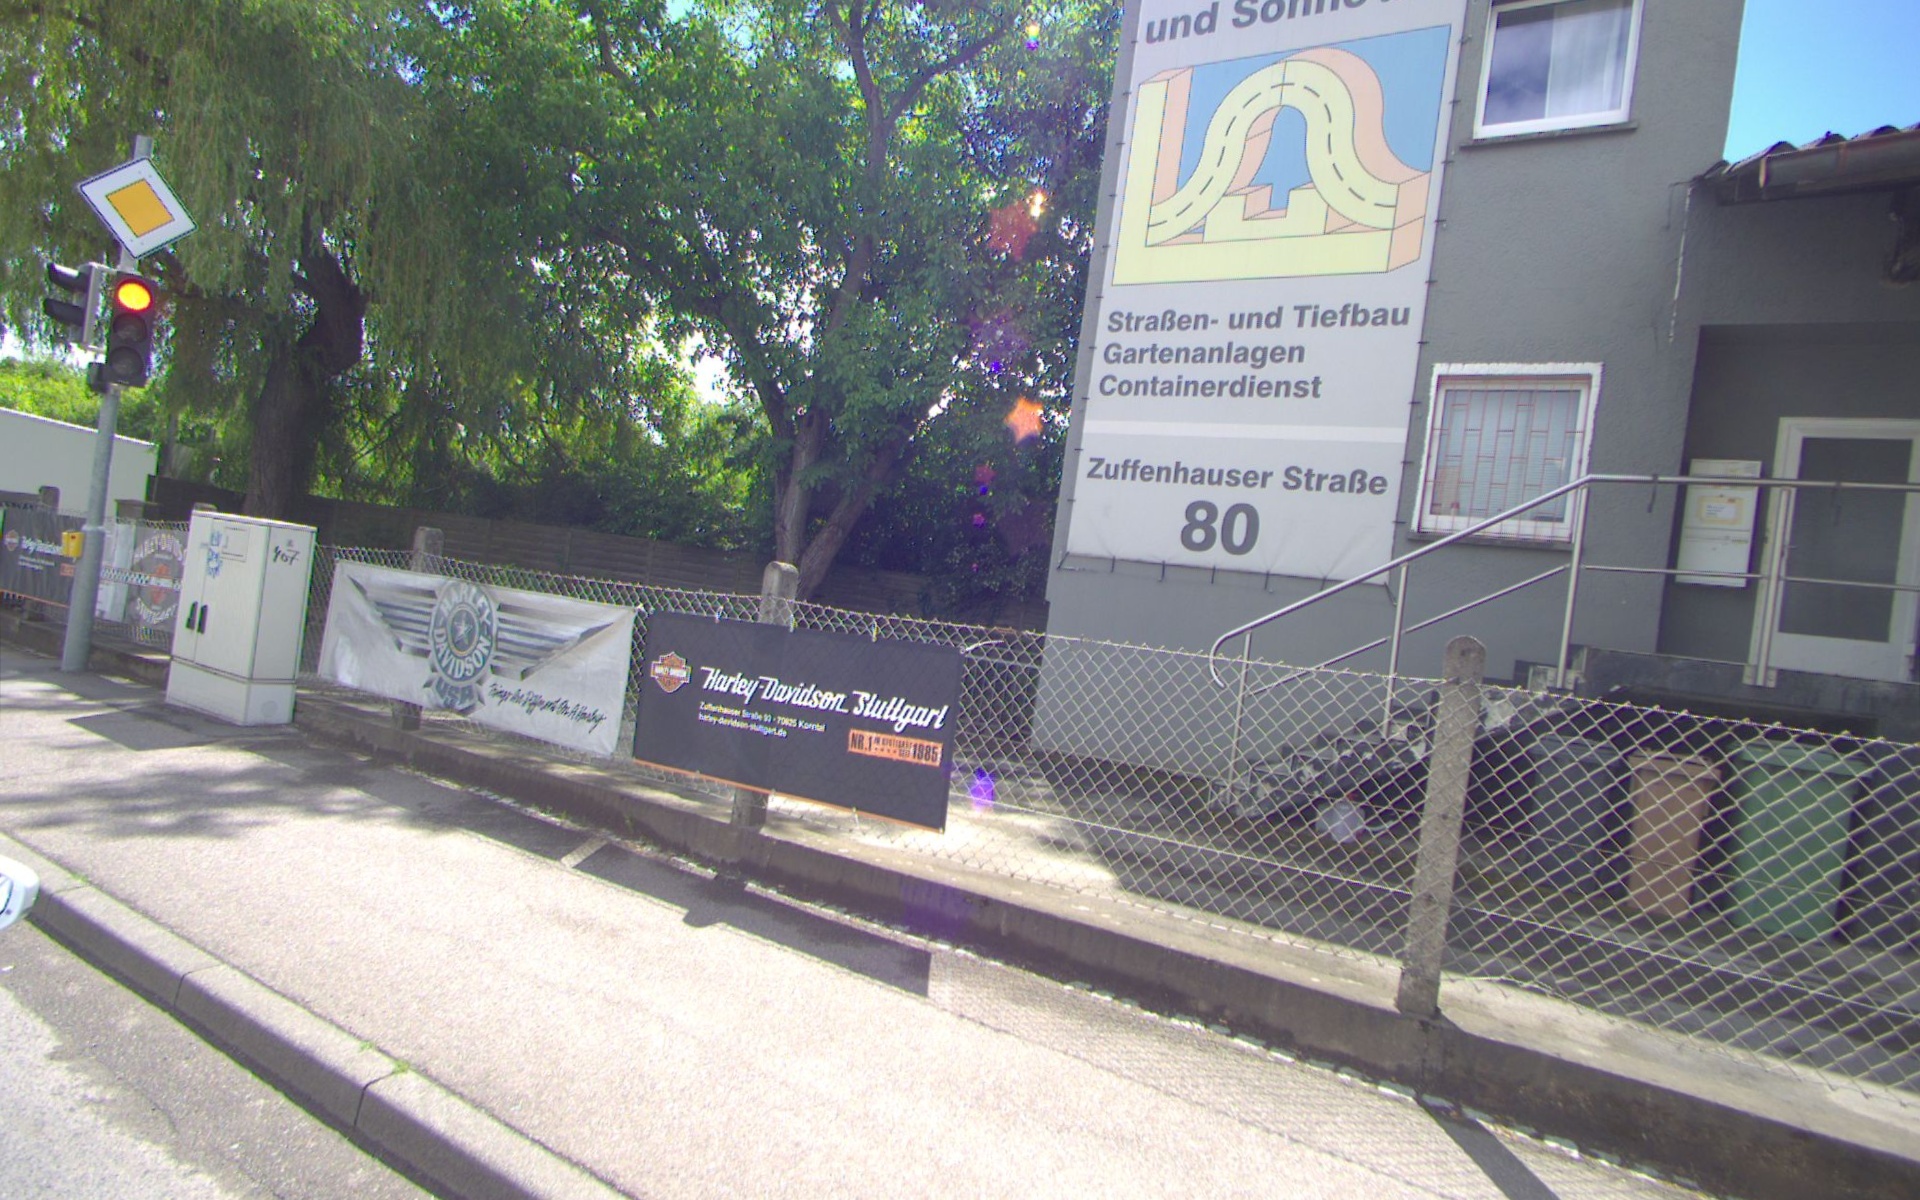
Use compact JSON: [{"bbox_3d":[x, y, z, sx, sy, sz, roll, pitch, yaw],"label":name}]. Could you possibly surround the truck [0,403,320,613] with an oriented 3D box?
[{"bbox_3d":[-20.027,-2.155,21.970,2.800,3.579,9.723,7,-3,29],"label":"truck"}]
